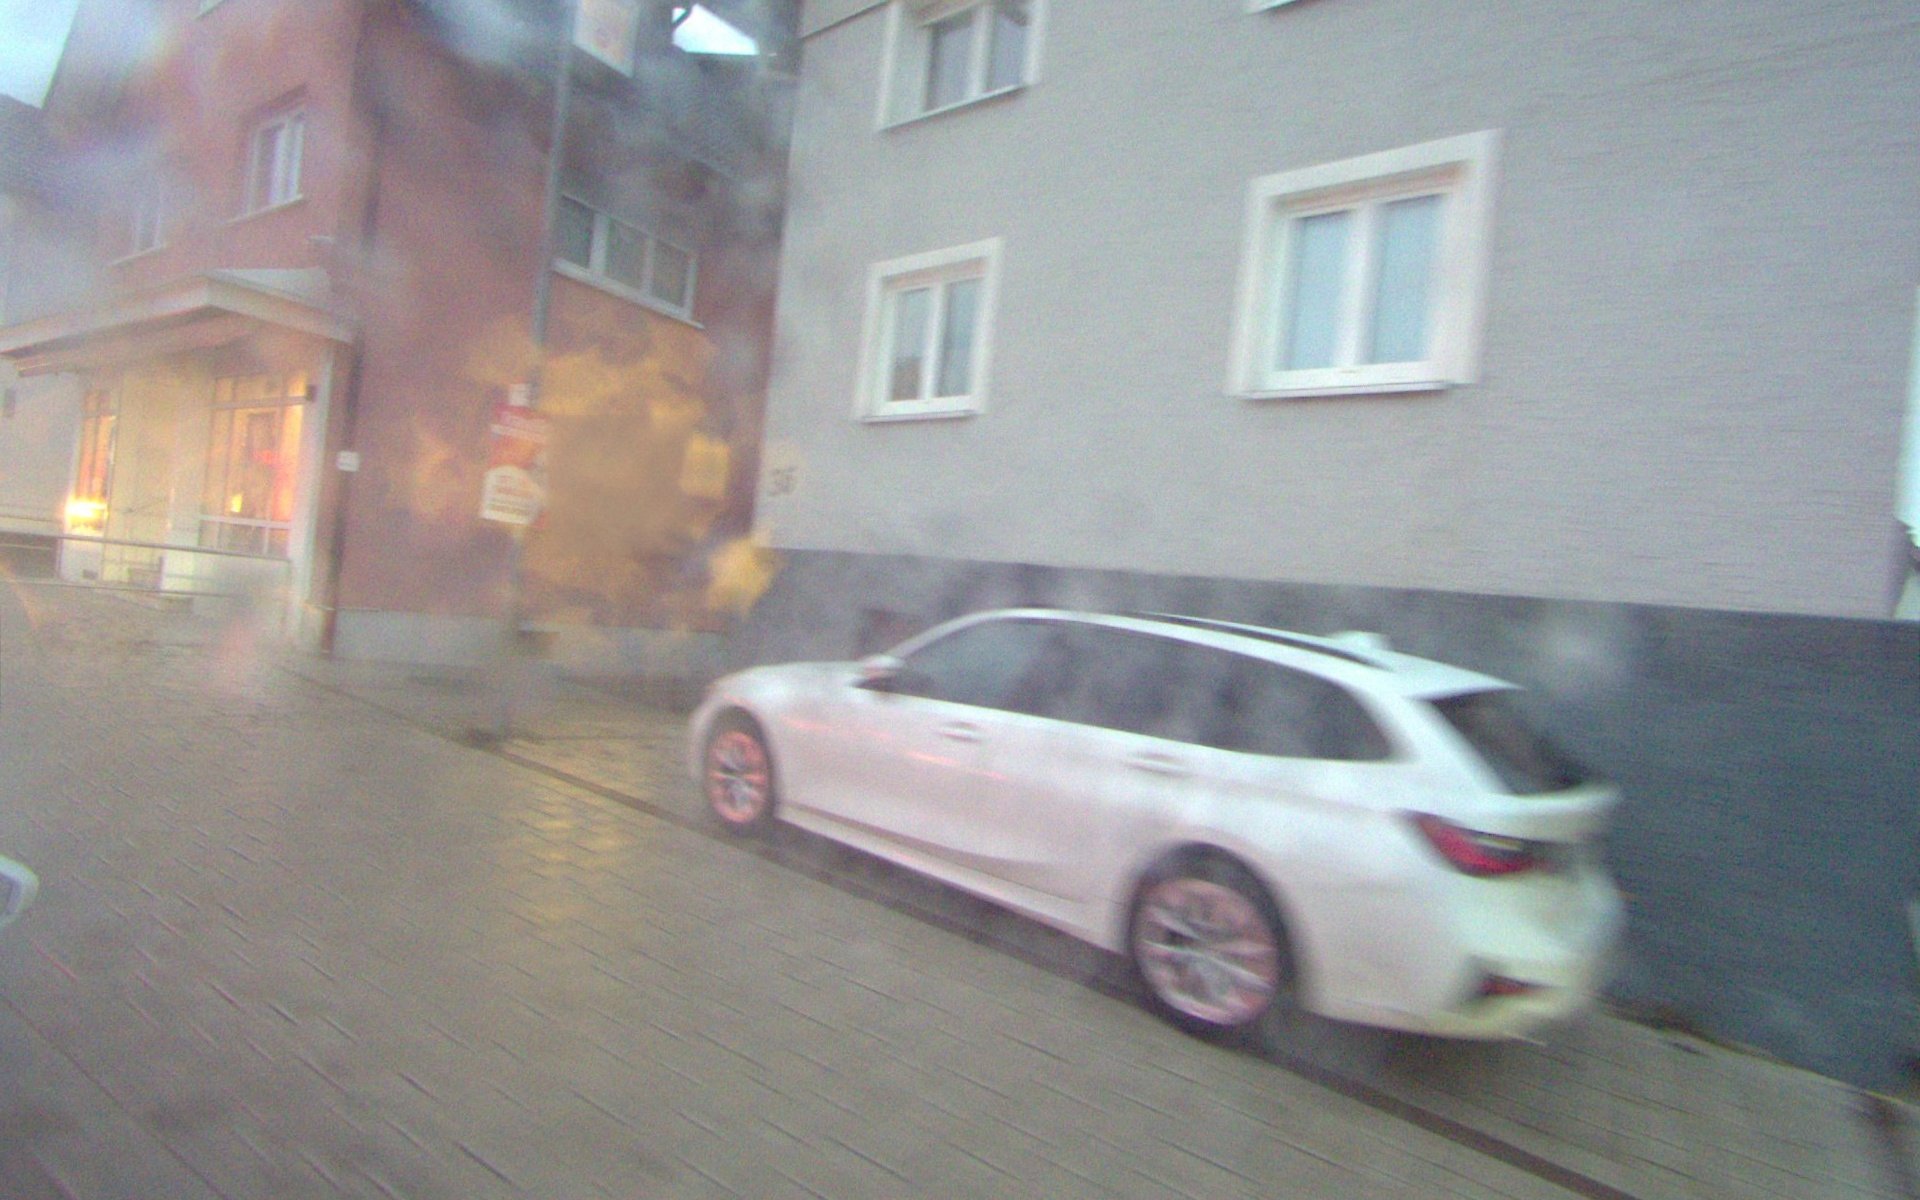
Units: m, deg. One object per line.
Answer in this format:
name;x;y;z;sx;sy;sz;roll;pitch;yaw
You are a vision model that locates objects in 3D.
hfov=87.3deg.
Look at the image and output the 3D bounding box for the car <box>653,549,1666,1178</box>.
car;0.585;0.727;4.983;4.479;1.485;1.880;7;1;42
